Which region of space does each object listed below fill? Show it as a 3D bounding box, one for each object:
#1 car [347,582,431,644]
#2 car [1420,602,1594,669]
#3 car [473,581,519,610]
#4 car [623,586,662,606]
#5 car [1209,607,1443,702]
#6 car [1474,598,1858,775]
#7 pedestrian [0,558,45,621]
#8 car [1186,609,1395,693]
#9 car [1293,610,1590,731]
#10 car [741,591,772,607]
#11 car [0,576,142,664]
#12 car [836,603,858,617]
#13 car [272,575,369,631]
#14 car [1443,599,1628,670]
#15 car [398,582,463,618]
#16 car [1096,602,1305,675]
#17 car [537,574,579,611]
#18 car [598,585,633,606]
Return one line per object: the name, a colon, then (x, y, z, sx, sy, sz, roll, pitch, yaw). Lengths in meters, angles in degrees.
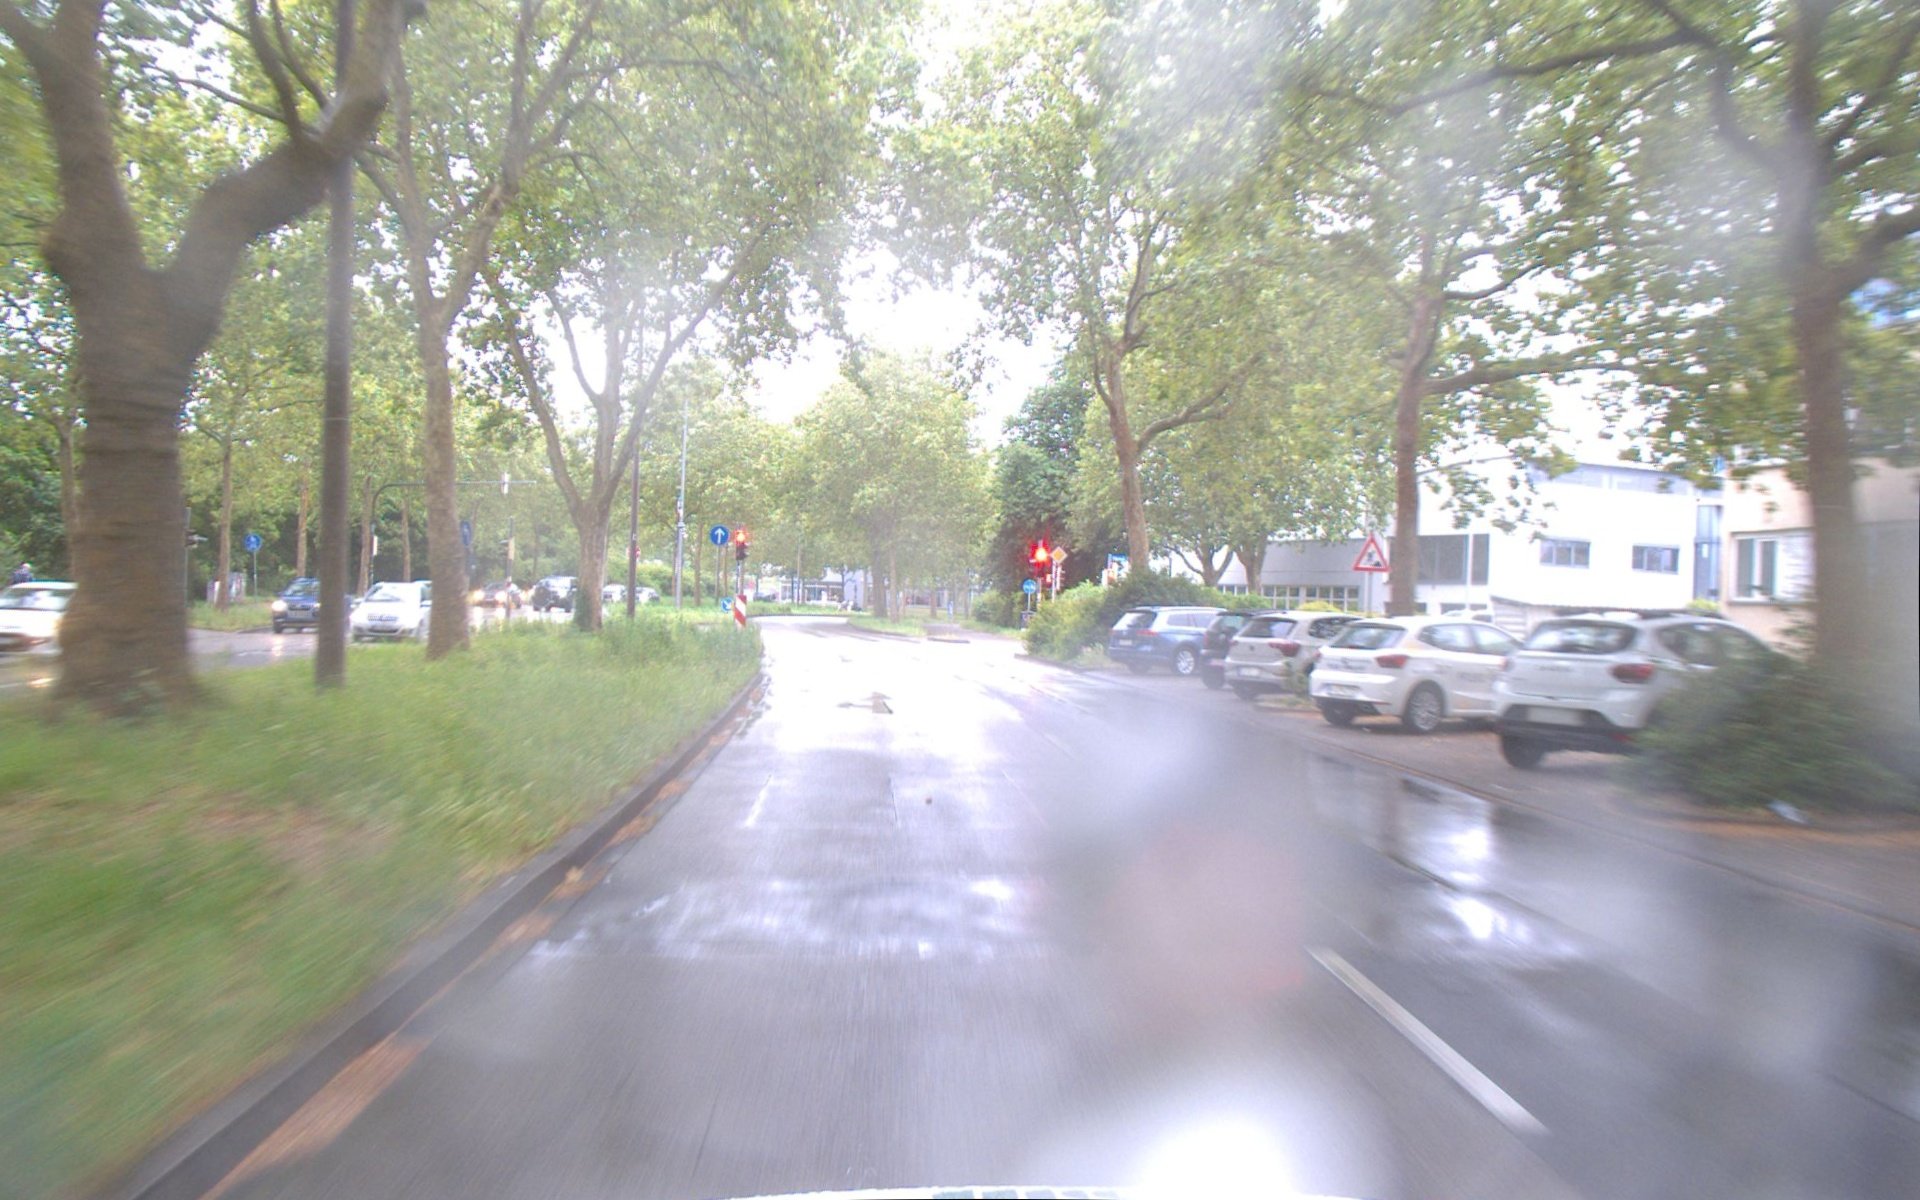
car: (-15.949, 0.336, 46.337, 1.713, 1.619, 4.316, 2, 0, -13)
car: (15.852, 1.024, 48.002, 4.455, 1.788, 1.776, 2, 0, -10)
car: (-25.695, -0.256, 91.685, 1.710, 1.502, 4.229, 2, 0, -6)
car: (-23.996, -0.289, 125.101, 1.553, 1.397, 4.265, 2, 0, 9)
car: (6.087, 0.894, 27.419, 3.647, 1.441, 1.755, 2, 0, -34)
car: (7.187, 0.831, 16.719, 3.991, 1.566, 1.728, 2, 0, -35)
pedestrian: (-26.047, -0.285, 45.929, 0.815, 1.703, 0.898, 2, 0, -9)
car: (6.151, 0.951, 30.704, 3.647, 1.441, 1.729, 2, 0, -34)
car: (6.383, 0.913, 21.880, 3.641, 1.441, 1.732, 2, 0, -30)
car: (-27.877, -0.091, 226.886, 3.923, 2.049, 1.991, 2, -2, -17)
car: (-16.864, 0.341, 30.874, 1.712, 1.502, 4.073, 2, 0, -10)
car: (-12.079, 1.073, 176.854, 1.553, 1.397, 4.265, 2, 0, 8)
car: (-19.711, 0.089, 51.142, 1.710, 1.619, 4.204, 2, 0, -6)
car: (15.663, 0.924, 45.112, 4.451, 1.788, 1.746, 2, 0, -8)
car: (-23.102, 0.007, 72.304, 1.709, 1.502, 4.231, 2, 0, -4)
car: (5.321, 0.857, 36.418, 4.433, 1.484, 1.732, 2, 0, -30)
car: (-21.698, -0.390, 89.474, 1.711, 1.874, 5.110, 2, 0, -9)
car: (-24.601, -0.322, 118.149, 1.554, 1.397, 3.335, 2, 0, 4)
